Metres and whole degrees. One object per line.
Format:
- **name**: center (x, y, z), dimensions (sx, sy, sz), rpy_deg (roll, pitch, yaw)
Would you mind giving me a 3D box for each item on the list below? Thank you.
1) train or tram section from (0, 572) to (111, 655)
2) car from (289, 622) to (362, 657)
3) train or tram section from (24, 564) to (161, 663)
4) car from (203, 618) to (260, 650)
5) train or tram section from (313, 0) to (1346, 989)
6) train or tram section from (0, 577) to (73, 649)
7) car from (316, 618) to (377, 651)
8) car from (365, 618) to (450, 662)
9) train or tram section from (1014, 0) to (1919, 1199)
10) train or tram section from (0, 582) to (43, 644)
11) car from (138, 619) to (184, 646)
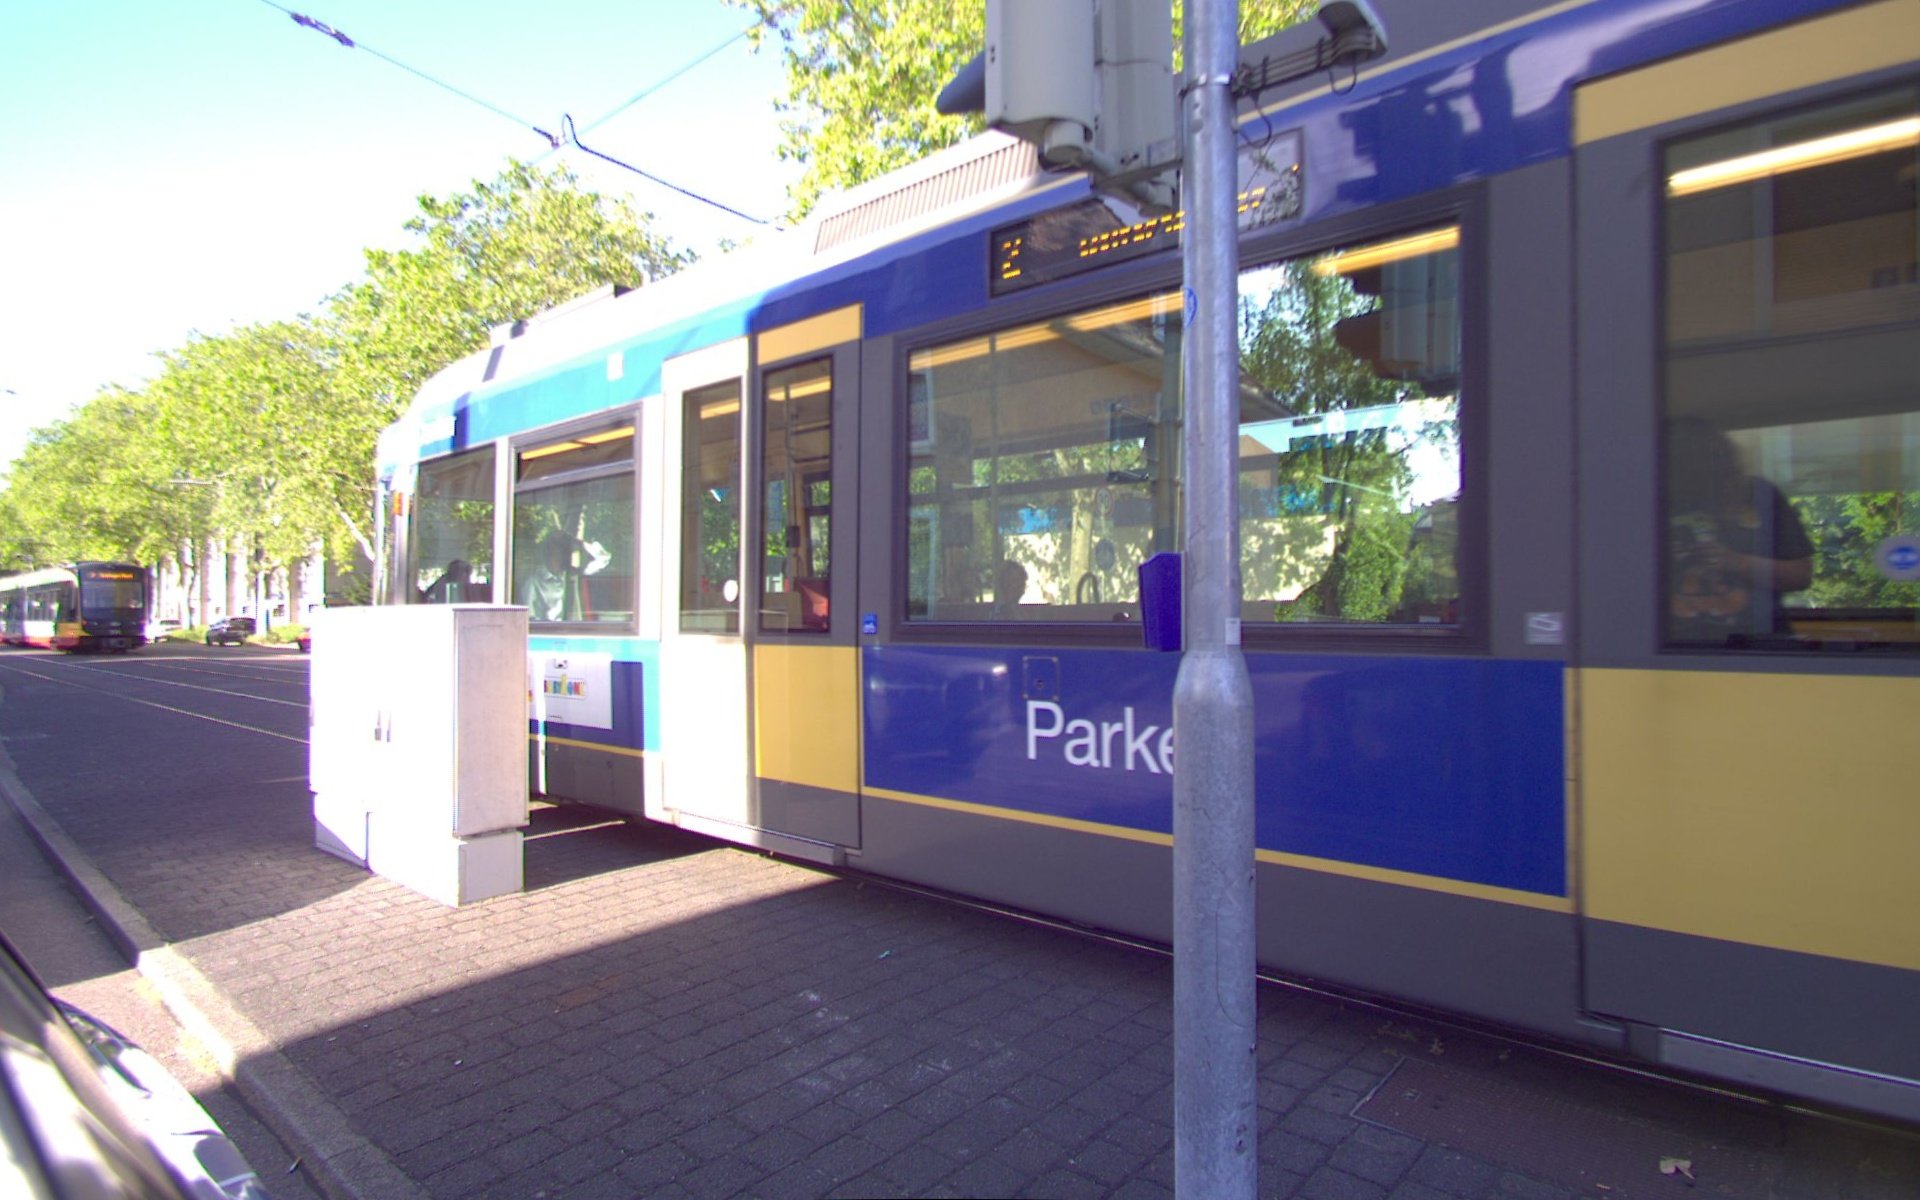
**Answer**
- **train or tram section**: center (-42.362, 0.615, 47.172), dimensions (10.179, 3.503, 2.806), rpy_deg (-1, 0, 42)
- **car**: center (-28.974, 1.780, 46.181), dimensions (4.001, 1.418, 1.821), rpy_deg (-1, 1, 44)
- **train or tram section**: center (-34.769, 0.511, 40.362), dimensions (10.180, 3.503, 2.825), rpy_deg (-1, 0, 42)
- **car**: center (-40.665, 1.892, 56.483), dimensions (4.098, 1.628, 1.821), rpy_deg (-1, 1, 44)
- **train or tram section**: center (-1.765, -0.337, 7.222), dimensions (7.960, 3.526, 2.785), rpy_deg (-2, -2, 42)
- **train or tram section**: center (-49.972, 0.685, 53.895), dimensions (10.179, 3.503, 2.806), rpy_deg (-1, 0, 41)
- **car**: center (-32.751, 1.819, 53.976), dimensions (3.659, 1.603, 1.732), rpy_deg (-1, 1, 41)
- **car**: center (-21.974, 1.548, 40.188), dimensions (4.002, 1.545, 1.820), rpy_deg (-1, 1, 45)
- **train or tram section**: center (4.282, -0.489, 1.819), dimensions (8.458, 3.526, 2.785), rpy_deg (-2, -2, 41)
- **train or tram section**: center (-57.557, 0.785, 60.588), dimensions (10.179, 3.503, 2.806), rpy_deg (-1, 0, 41)
- **car**: center (-53.848, 2.166, 68.208), dimensions (4.098, 1.686, 1.821), rpy_deg (-1, 1, 44)
